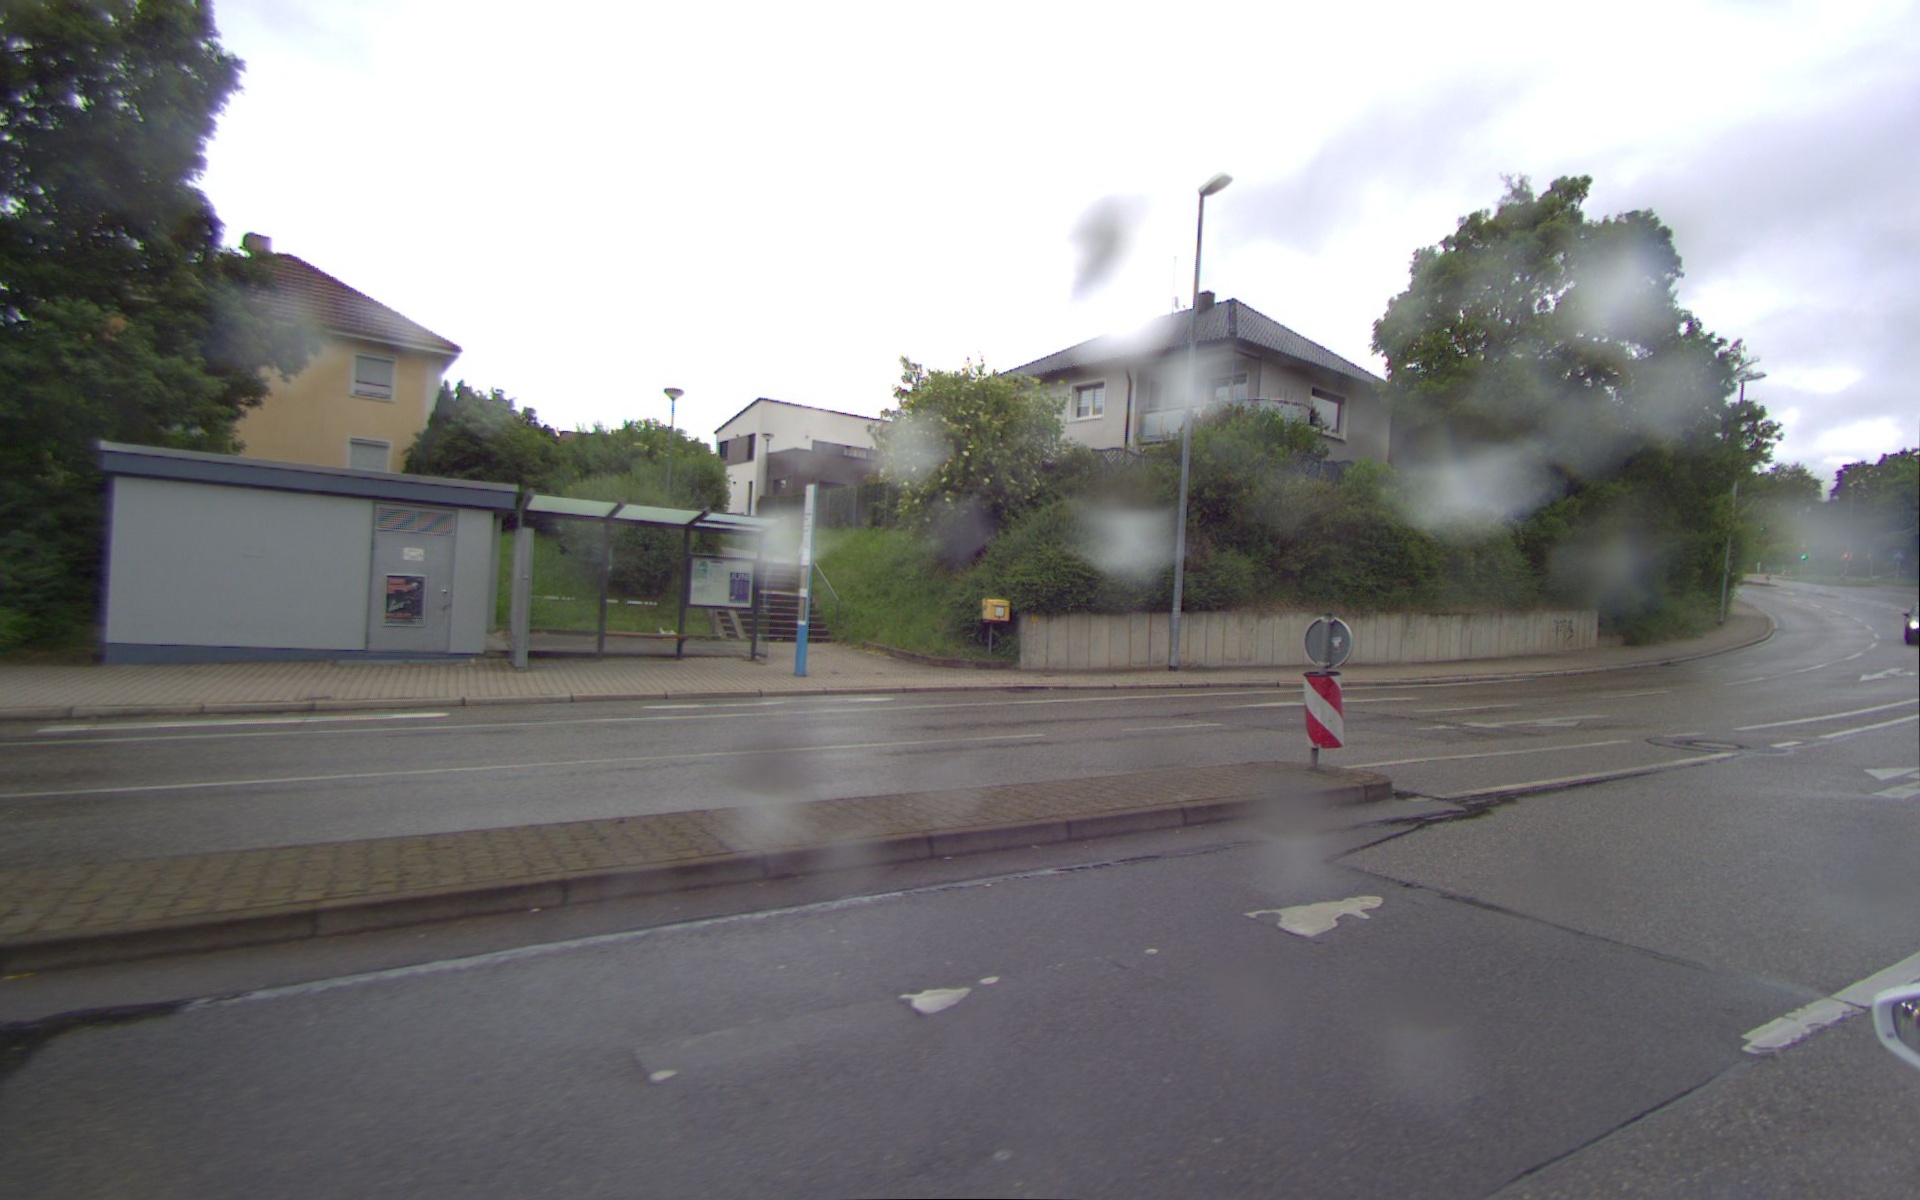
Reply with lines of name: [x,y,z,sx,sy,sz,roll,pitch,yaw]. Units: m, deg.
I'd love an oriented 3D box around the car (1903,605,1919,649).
car: [34.846,0.954,35.489,4.202,1.507,1.875,1,0,-42]
